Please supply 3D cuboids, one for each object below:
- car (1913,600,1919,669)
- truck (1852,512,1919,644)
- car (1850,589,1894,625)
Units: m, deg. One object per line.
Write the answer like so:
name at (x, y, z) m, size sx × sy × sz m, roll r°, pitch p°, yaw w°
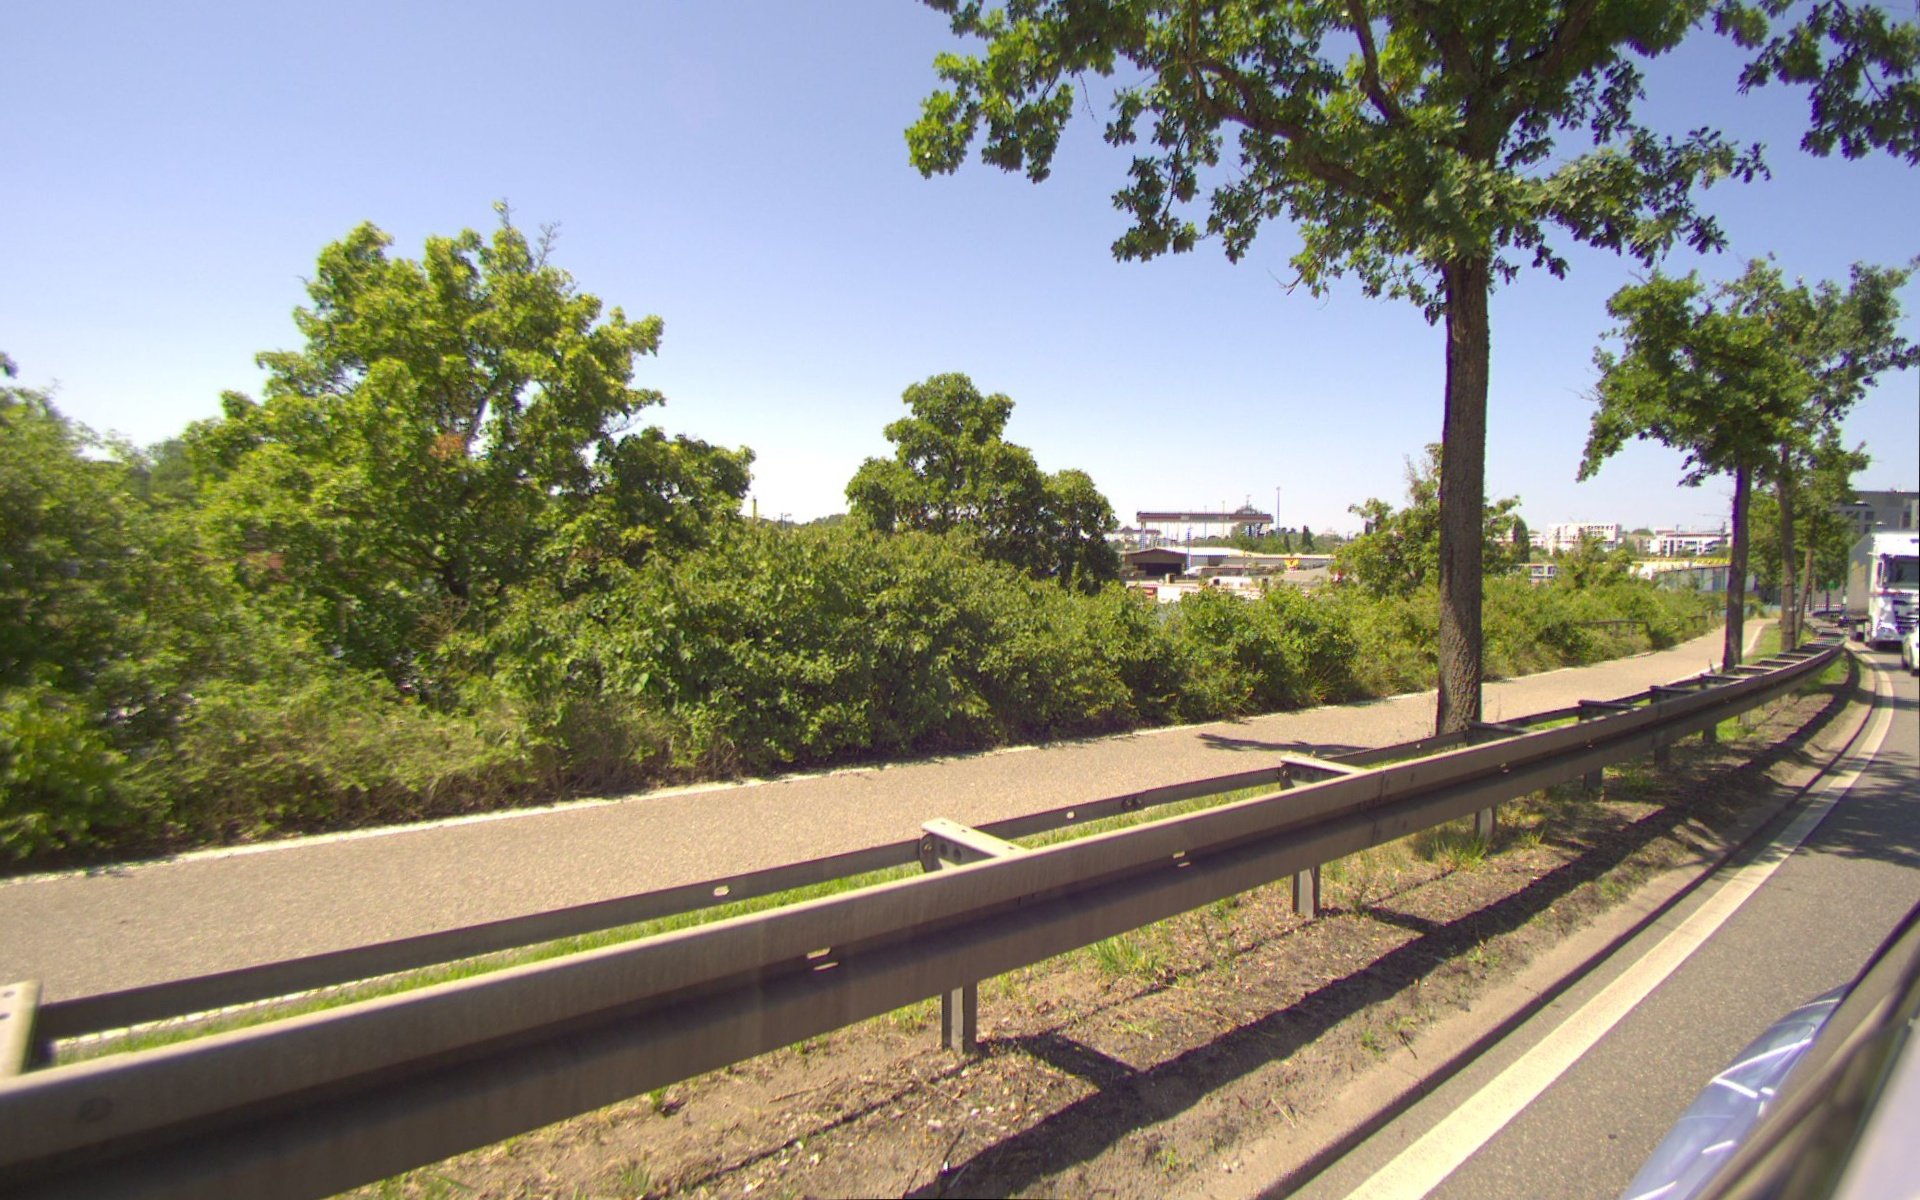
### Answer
car at (22.080, 0.735, 22.079) m, size 1.776 × 1.424 × 3.935 m, roll 0°, pitch 0°, yaw 45°
truck at (36.510, -0.752, 38.557) m, size 3.057 × 4.223 × 16.672 m, roll 0°, pitch 0°, yaw 39°
car at (53.379, 0.370, 59.282) m, size 1.773 × 2.039 × 3.941 m, roll 0°, pitch 0°, yaw 40°
